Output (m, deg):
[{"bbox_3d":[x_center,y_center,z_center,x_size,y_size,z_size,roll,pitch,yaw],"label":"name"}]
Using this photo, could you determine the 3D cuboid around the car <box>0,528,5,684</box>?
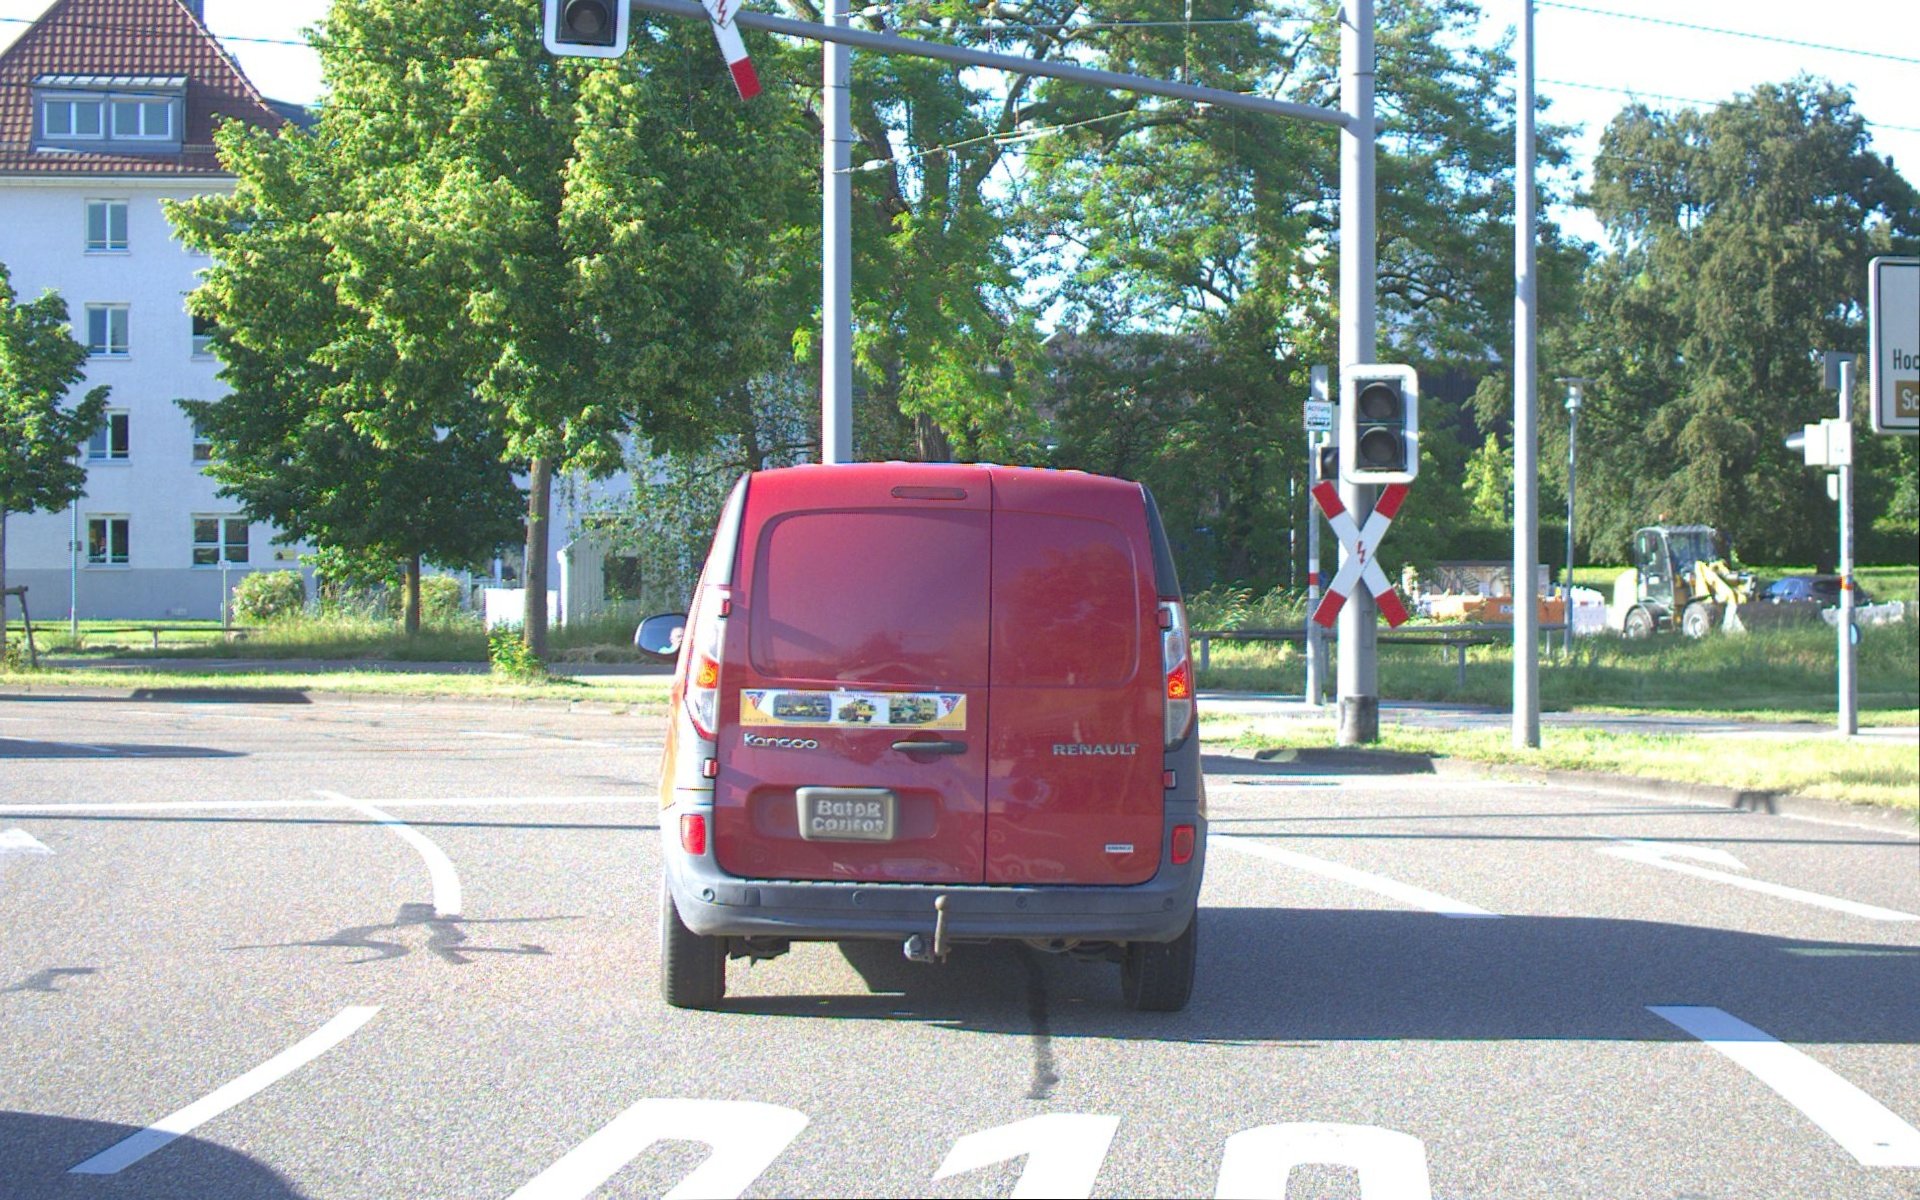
[{"bbox_3d":[-14.149,0.079,42.215,4.745,1.891,2.000,0,0,32],"label":"car"}]

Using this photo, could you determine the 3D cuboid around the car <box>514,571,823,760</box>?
[{"bbox_3d":[-2.485,0.492,28.398,1.713,1.431,4.153,1,0,-17],"label":"car"}]

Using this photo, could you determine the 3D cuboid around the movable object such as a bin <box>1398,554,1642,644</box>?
[{"bbox_3d":[12.769,0.001,78.507,5.004,1.942,2.240,1,-1,-16],"label":"movable object such as a bin"}]

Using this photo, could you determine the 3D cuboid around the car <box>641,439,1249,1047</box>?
[{"bbox_3d":[-0.173,0.399,12.353,1.802,1.807,3.810,2,1,-4],"label":"car"}]

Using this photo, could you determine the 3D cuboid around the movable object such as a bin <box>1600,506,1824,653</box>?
[{"bbox_3d":[15.013,-0.352,68.938,1.993,2.779,5.049,1,-1,-20],"label":"movable object such as a bin"}]
